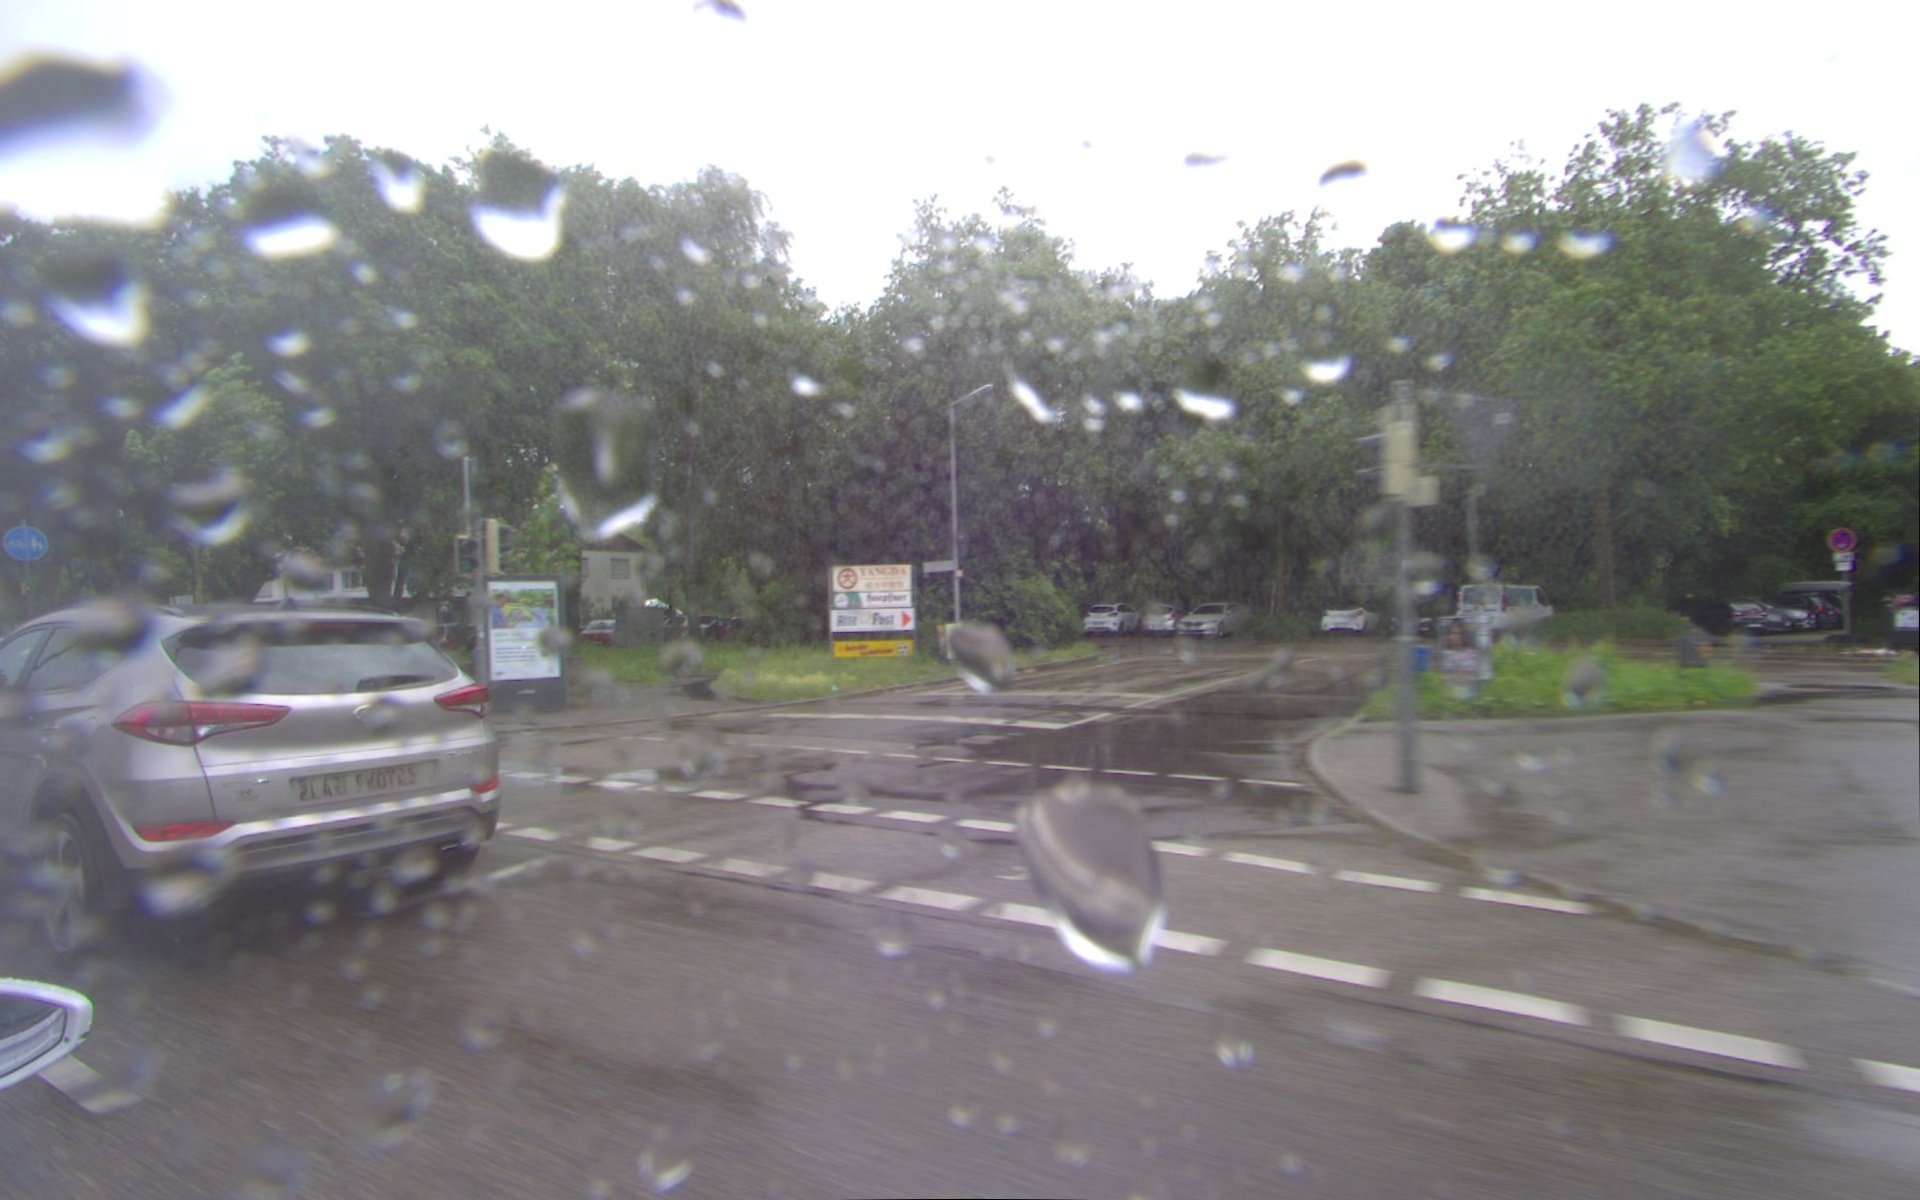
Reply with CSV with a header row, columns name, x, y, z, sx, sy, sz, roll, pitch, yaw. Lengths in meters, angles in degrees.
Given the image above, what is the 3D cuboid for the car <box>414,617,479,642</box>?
name,x,y,z,sx,sy,sz,roll,pitch,yaw
car,-29.197,1.712,56.964,3.647,1.332,1.570,-2,-2,30

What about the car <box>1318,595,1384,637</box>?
name,x,y,z,sx,sy,sz,roll,pitch,yaw
car,16.143,0.710,41.241,1.698,1.617,3.648,-2,-3,35

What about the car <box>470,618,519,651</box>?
name,x,y,z,sx,sy,sz,roll,pitch,yaw
car,-21.445,1.603,46.235,1.641,1.467,3.746,0,-3,-19

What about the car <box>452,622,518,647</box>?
name,x,y,z,sx,sy,sz,roll,pitch,yaw
car,-28.171,2.052,59.346,3.941,1.403,1.582,-2,-3,30

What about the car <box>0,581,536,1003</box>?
name,x,y,z,sx,sy,sz,roll,pitch,yaw
car,-4.558,0.835,5.809,4.137,1.630,1.881,-2,-3,33

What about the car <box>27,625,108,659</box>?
name,x,y,z,sx,sy,sz,roll,pitch,yaw
car,-48.888,2.322,54.839,4.574,1.740,1.990,-2,0,31

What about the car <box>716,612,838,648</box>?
name,x,y,z,sx,sy,sz,roll,pitch,yaw
car,-7.950,1.338,44.074,2.139,1.467,5.387,-2,-3,34

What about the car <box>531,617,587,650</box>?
name,x,y,z,sx,sy,sz,roll,pitch,yaw
car,-18.573,1.582,46.541,1.638,1.467,3.752,0,-2,-10

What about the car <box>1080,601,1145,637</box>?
name,x,y,z,sx,sy,sz,roll,pitch,yaw
car,7.325,0.961,47.644,1.894,1.603,4.589,-2,-3,24

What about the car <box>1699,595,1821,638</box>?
name,x,y,z,sx,sy,sz,roll,pitch,yaw
car,34.198,0.743,42.846,3.958,1.672,1.688,-3,-3,43

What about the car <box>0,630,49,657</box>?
name,x,y,z,sx,sy,sz,roll,pitch,yaw
car,-55.451,2.568,58.894,4.013,1.504,1.635,-2,-3,31

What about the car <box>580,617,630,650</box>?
name,x,y,z,sx,sy,sz,roll,pitch,yaw
car,-16.658,1.586,47.145,1.573,1.467,3.752,0,-2,-10

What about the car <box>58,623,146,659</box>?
name,x,y,z,sx,sy,sz,roll,pitch,yaw
car,-44.305,2.136,51.697,4.807,1.740,1.990,-2,0,31

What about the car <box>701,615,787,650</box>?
name,x,y,z,sx,sy,sz,roll,pitch,yaw
car,-9.737,1.480,45.286,1.647,1.467,3.702,-2,-3,34

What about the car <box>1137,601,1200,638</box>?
name,x,y,z,sx,sy,sz,roll,pitch,yaw
car,9.676,0.947,46.232,1.894,1.603,4.589,-2,-3,24

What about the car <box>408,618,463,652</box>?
name,x,y,z,sx,sy,sz,roll,pitch,yaw
car,-23.719,1.593,45.384,1.641,1.467,3.746,0,-3,-19

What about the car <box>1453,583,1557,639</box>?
name,x,y,z,sx,sy,sz,roll,pitch,yaw
car,20.793,0.458,38.158,4.144,1.989,1.913,1,-3,-37

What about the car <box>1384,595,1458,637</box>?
name,x,y,z,sx,sy,sz,roll,pitch,yaw
car,18.250,0.677,39.539,1.901,1.507,4.170,-2,-3,35

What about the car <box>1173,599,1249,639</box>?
name,x,y,z,sx,sy,sz,roll,pitch,yaw
car,11.057,0.887,43.891,1.899,1.651,4.578,-2,-3,32
